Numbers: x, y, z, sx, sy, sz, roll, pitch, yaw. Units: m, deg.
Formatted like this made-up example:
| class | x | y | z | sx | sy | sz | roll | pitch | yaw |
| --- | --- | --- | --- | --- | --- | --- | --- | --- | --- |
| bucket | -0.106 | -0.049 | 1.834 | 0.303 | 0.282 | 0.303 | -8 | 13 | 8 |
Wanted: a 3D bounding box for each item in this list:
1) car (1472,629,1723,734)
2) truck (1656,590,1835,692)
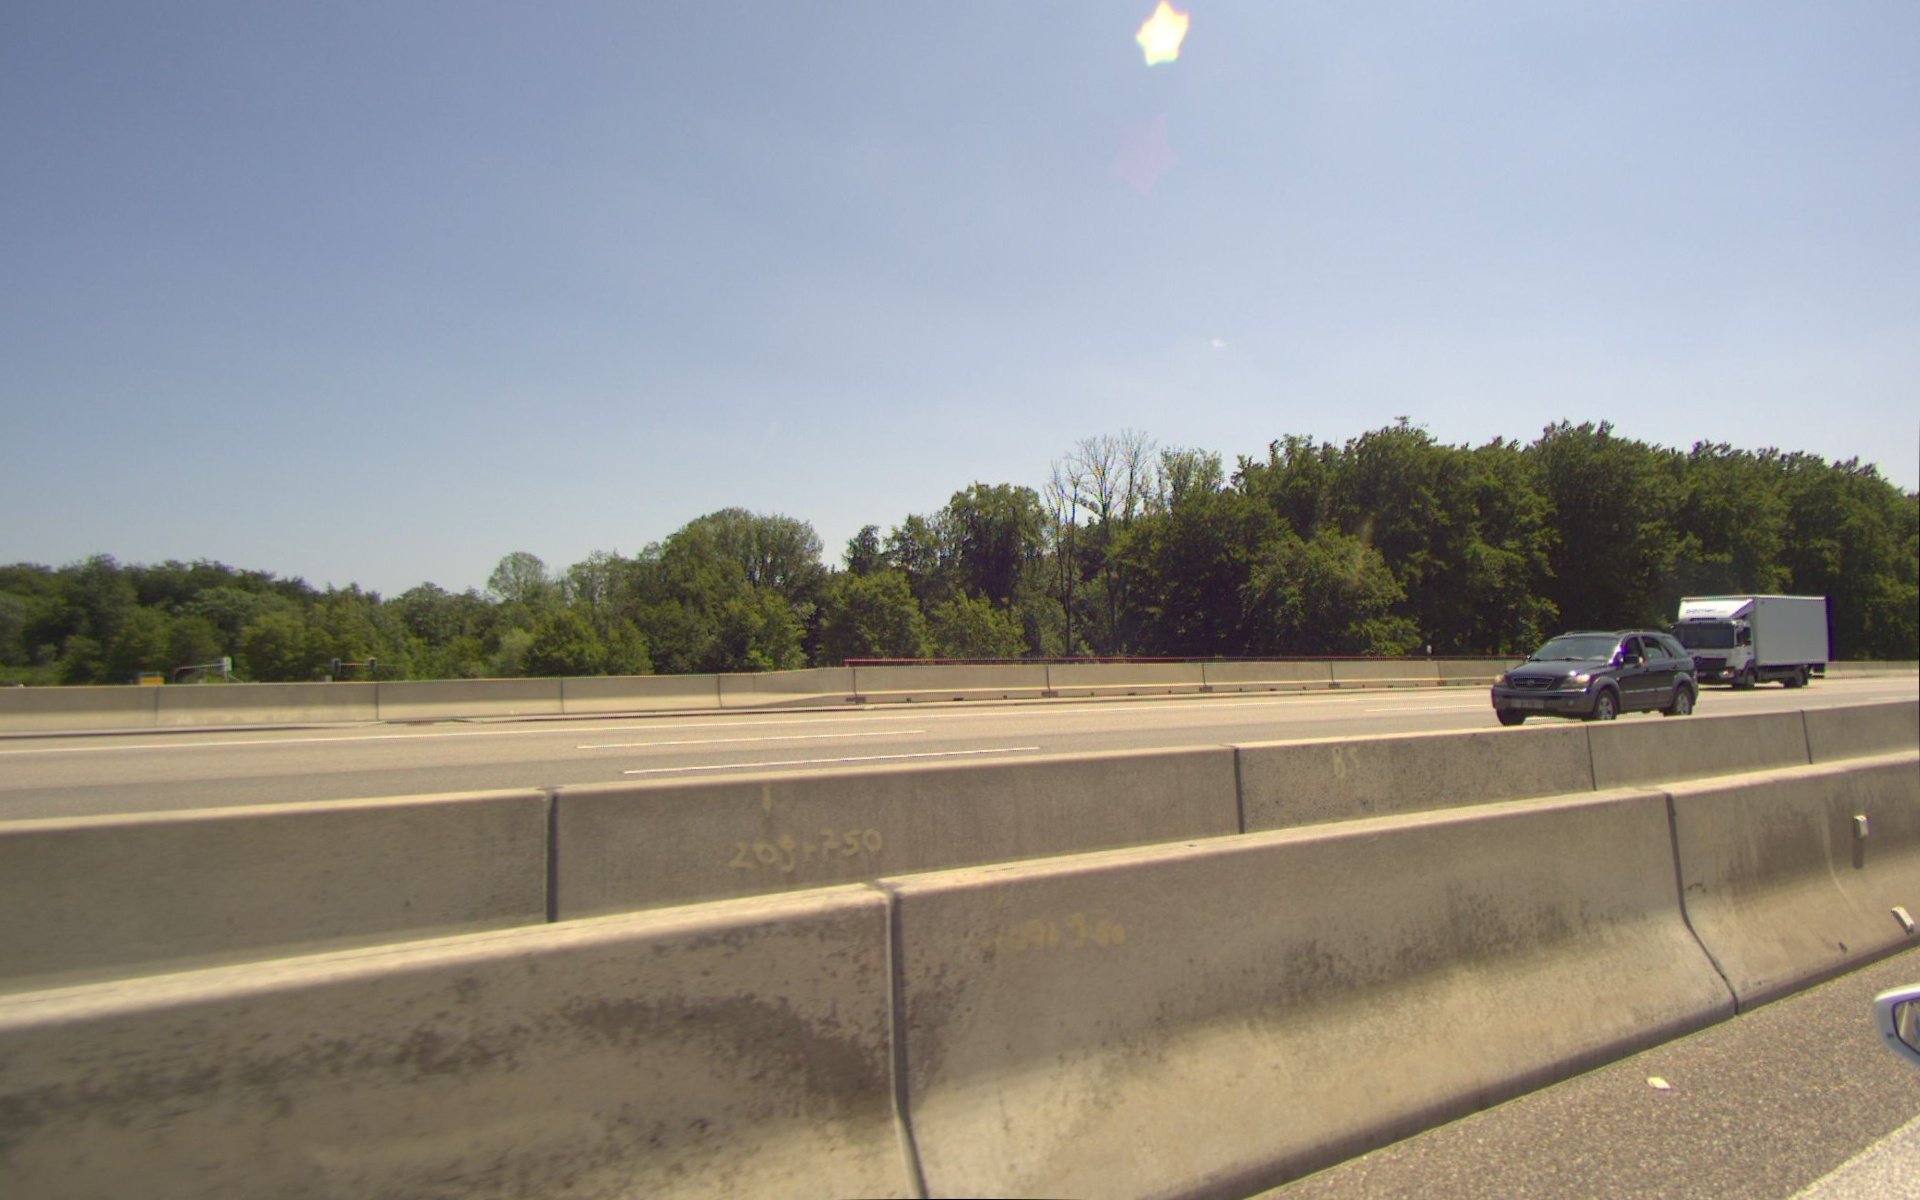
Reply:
| class | x | y | z | sx | sy | sz | roll | pitch | yaw |
| --- | --- | --- | --- | --- | --- | --- | --- | --- | --- |
| car | 12.025 | 1.455 | 18.880 | 4.867 | 1.757 | 1.984 | 1 | -3 | -31 |
| truck | 30.566 | 1.605 | 38.972 | 8.479 | 3.617 | 2.527 | 1 | -4 | -31 |
